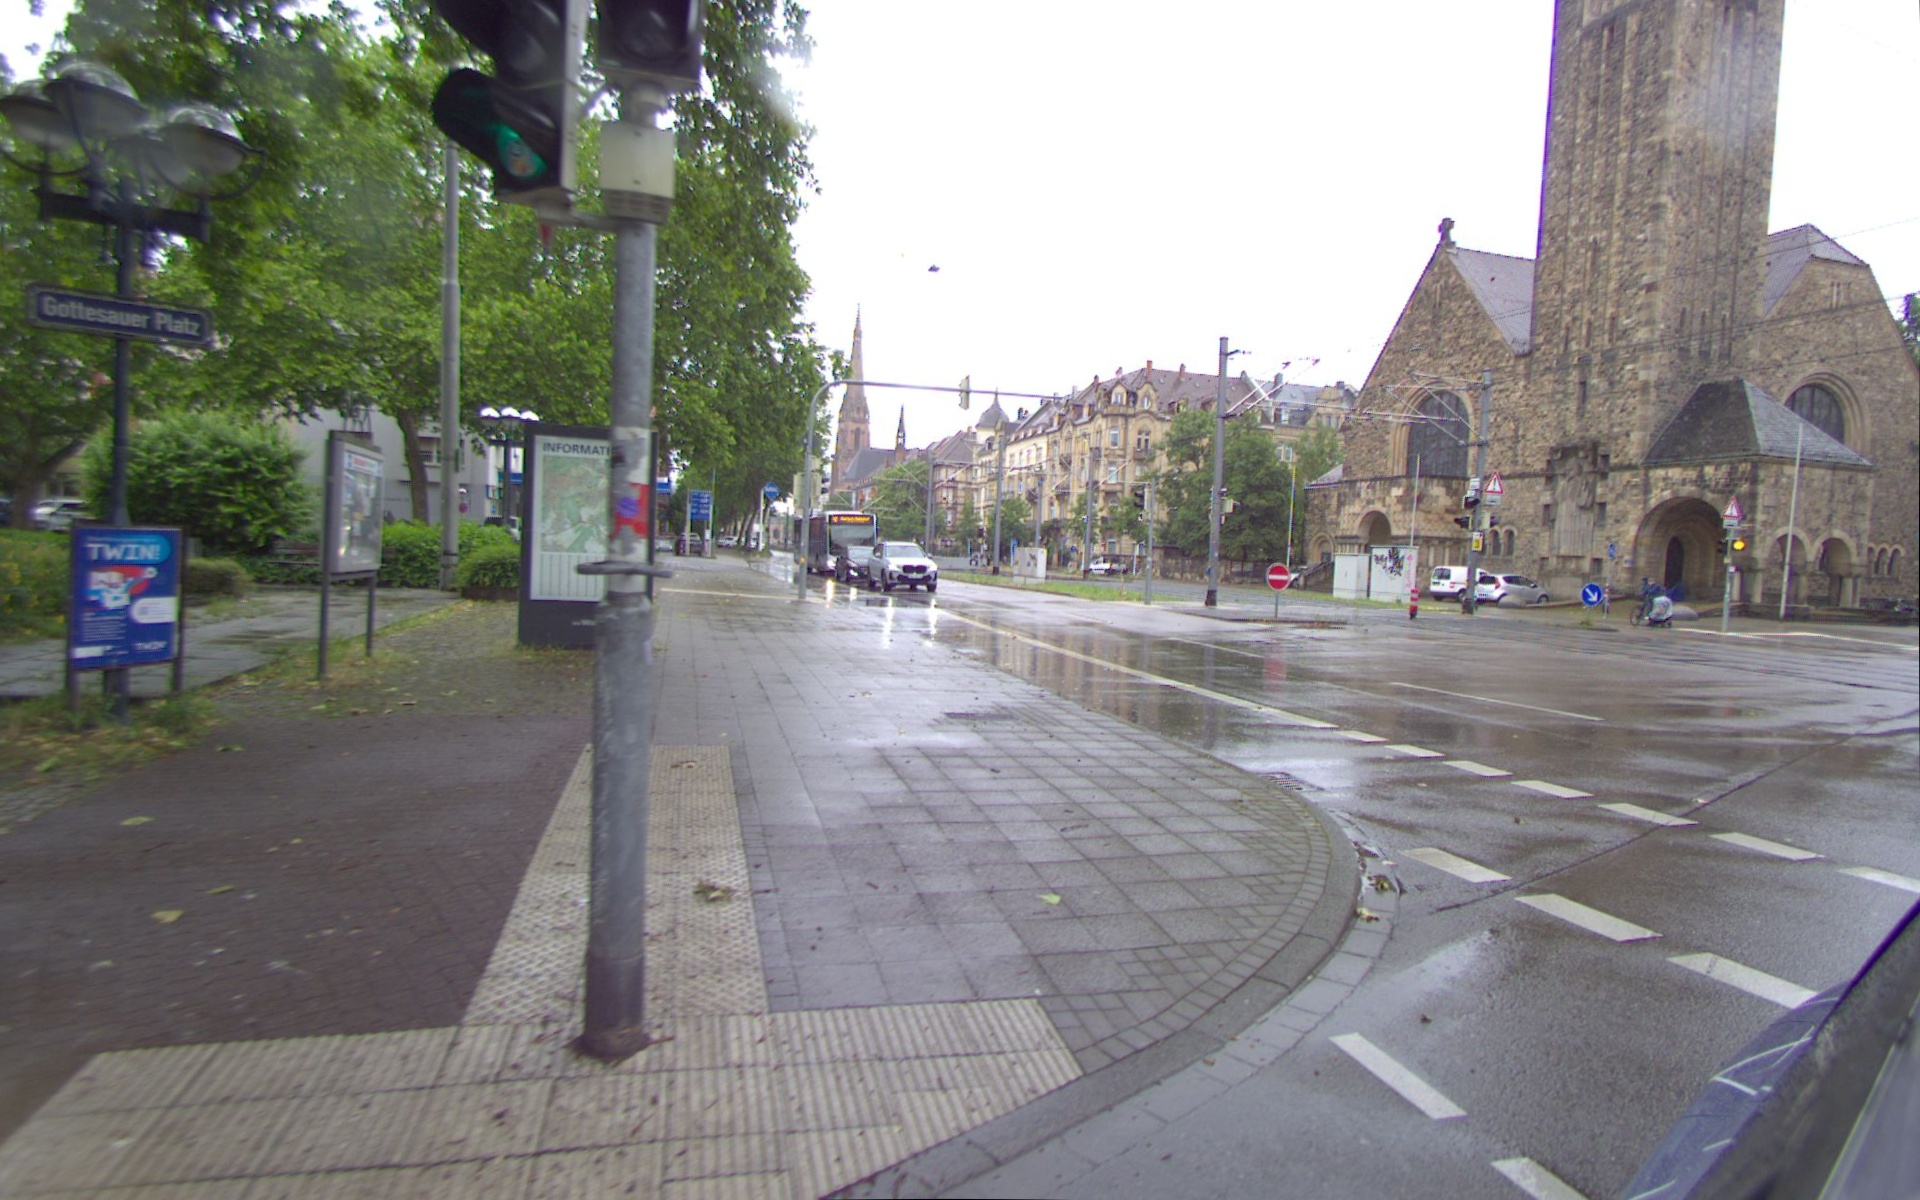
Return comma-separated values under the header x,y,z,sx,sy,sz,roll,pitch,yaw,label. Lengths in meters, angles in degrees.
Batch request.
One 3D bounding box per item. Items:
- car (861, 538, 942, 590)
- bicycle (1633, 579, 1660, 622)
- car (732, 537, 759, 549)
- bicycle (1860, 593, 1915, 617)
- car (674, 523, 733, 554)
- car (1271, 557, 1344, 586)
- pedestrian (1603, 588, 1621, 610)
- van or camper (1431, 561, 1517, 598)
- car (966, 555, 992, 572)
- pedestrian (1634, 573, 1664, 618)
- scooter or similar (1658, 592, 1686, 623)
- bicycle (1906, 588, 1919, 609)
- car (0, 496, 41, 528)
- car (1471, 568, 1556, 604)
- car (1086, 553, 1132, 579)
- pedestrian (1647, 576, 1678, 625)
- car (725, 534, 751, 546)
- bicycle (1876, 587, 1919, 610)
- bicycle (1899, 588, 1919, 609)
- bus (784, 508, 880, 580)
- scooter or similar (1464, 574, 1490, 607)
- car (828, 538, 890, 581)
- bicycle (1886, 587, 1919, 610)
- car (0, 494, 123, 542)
x,y,z,sx,sy,sz,roll,pitch,yaw,label
-2.154,-1.329,35.774,1.754,1.619,4.568,2,3,-17,car
24.873,0.002,36.655,0.531,1.484,1.912,5,3,40,bicycle
-31.383,-8.303,147.847,3.740,1.643,1.781,2,3,-16,car
48.231,0.233,52.650,0.564,1.061,2.015,2,4,-23,bicycle
-18.285,-4.378,72.110,3.915,2.038,2.005,2,3,-17,car
22.399,-1.860,65.199,3.915,1.637,2.005,2,3,-16,car
27.812,-0.031,43.181,0.388,0.895,0.457,2,3,-20,pedestrian
26.734,-1.077,52.663,3.847,1.748,1.653,-2,4,-16,van or camper
2.138,-4.191,115.768,1.744,1.798,4.011,2,3,-16,car
27.651,-0.187,40.629,0.664,1.723,0.636,2,3,-20,pedestrian
25.014,0.268,35.556,0.907,1.061,0.515,1,3,-38,scooter or similar
51.547,0.000,53.469,0.663,1.073,2.162,2,4,-18,bicycle
-44.397,-4.052,46.420,1.642,1.469,4.011,2,3,-14,car
27.003,-0.722,49.373,3.288,1.593,1.741,-1,3,-13,car
11.965,-2.751,81.455,1.938,1.815,4.011,2,3,-19,car
25.048,0.010,36.084,0.676,1.683,0.605,1,3,-37,pedestrian
-34.514,-9.365,157.064,3.740,1.643,1.781,2,3,-16,car
49.127,-0.089,52.778,0.569,1.073,1.934,2,4,-21,bicycle
50.647,-0.027,53.114,0.569,1.073,1.934,2,4,-18,bicycle
-6.934,-2.962,52.740,2.832,3.151,12.135,2,3,-17,bus
22.791,-0.424,44.625,0.280,1.404,1.107,2,2,-17,scooter or similar
-4.250,-1.733,42.109,1.741,1.619,4.190,2,3,-17,car
49.787,-0.066,52.930,0.569,1.073,1.934,2,4,-18,bicycle
-34.173,-3.069,37.887,3.916,1.637,2.006,1,3,-21,car
